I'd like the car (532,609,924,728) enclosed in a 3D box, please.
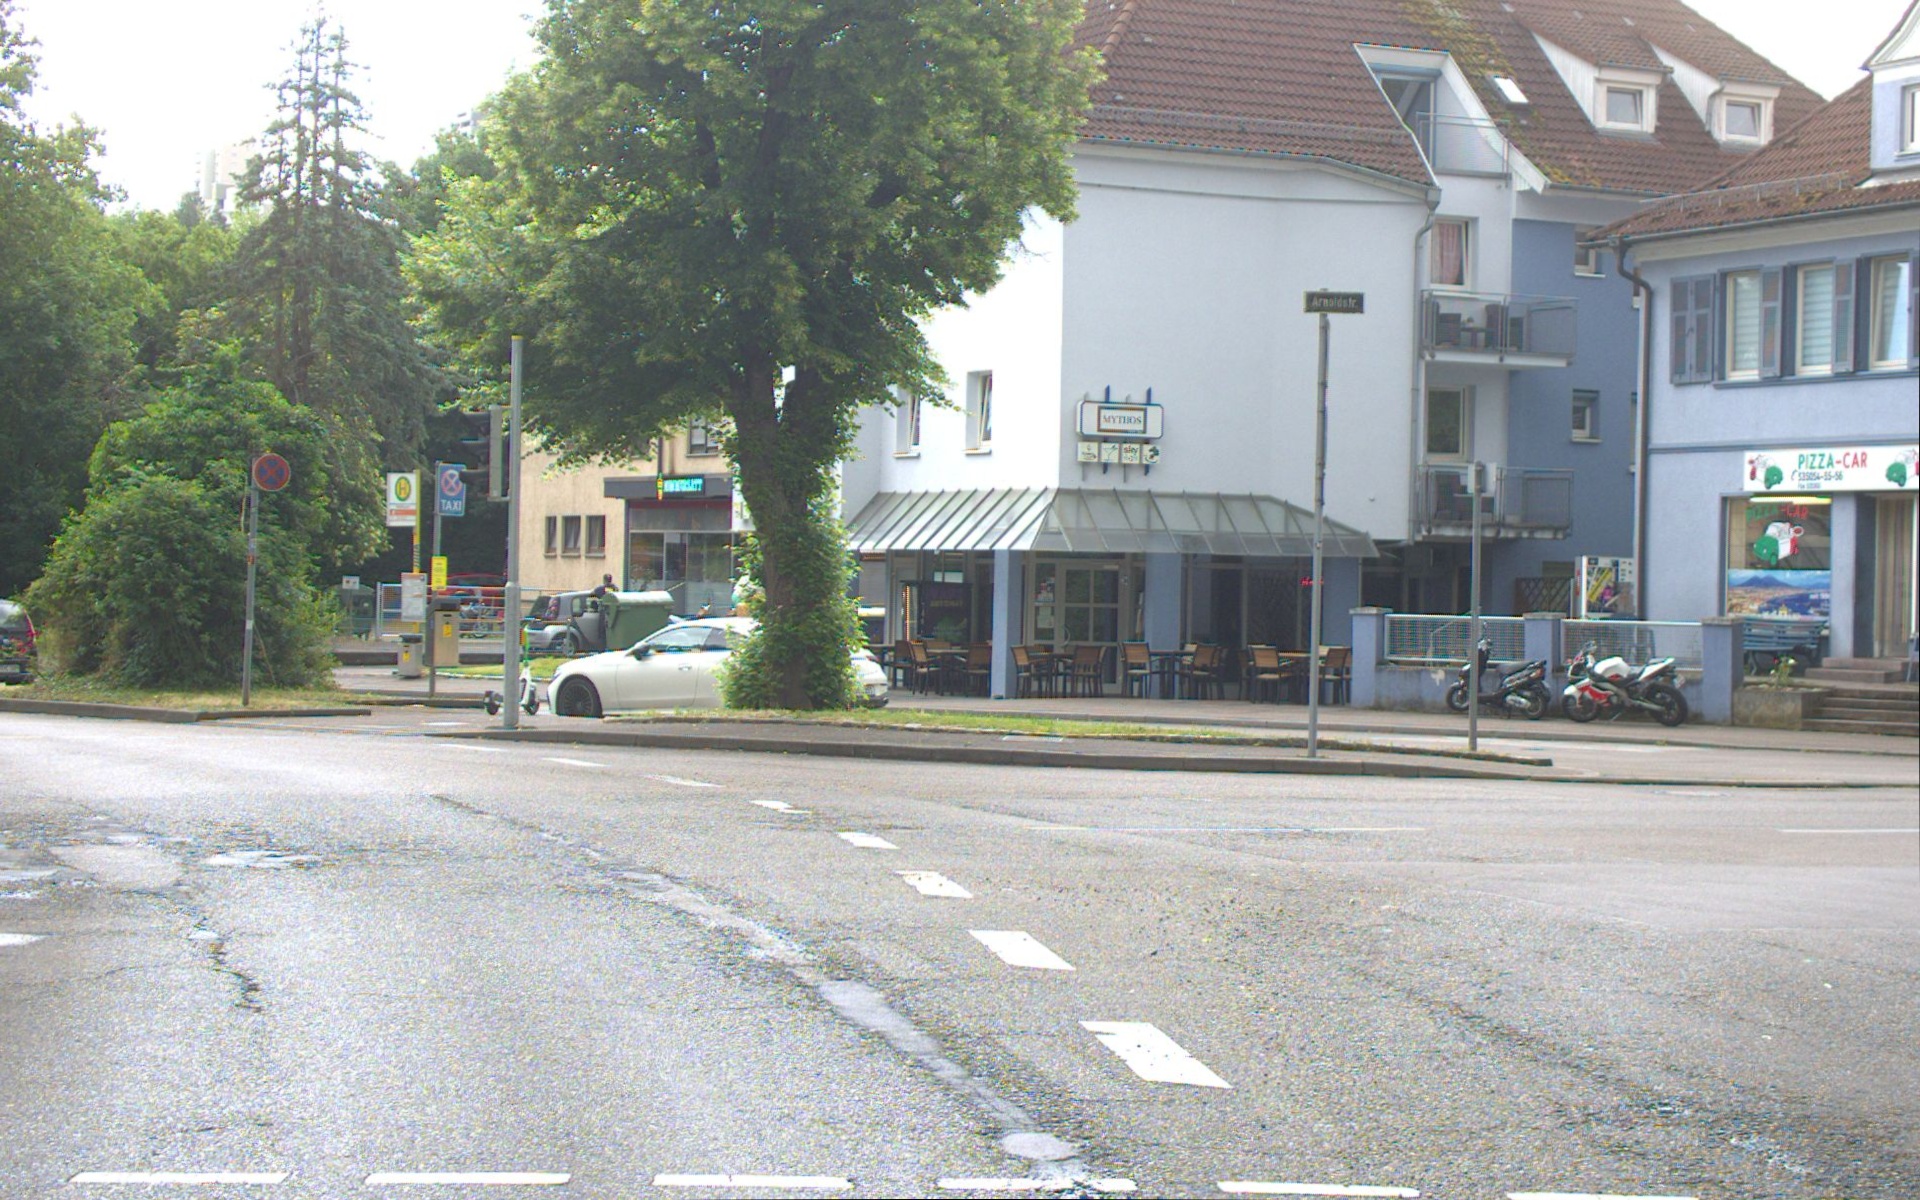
[{"bbox_3d":[-2.985,0.838,43.793,4.782,1.382,1.996,1,0,35],"label":"car"}]

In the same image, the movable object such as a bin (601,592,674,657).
[{"bbox_3d":[-6.768,0.520,72.188,1.216,1.340,0.995,1,0,-31],"label":"movable object such as a bin"}]

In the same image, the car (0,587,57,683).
[{"bbox_3d":[-15.578,0.482,52.137,3.489,1.399,1.570,2,1,29],"label":"car"}]

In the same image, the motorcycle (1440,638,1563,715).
[{"bbox_3d":[7.565,1.057,48.087,1.724,1.028,0.488,1,0,43],"label":"motorcycle"}]

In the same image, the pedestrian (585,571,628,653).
[{"bbox_3d":[-7.507,0.254,73.042,0.687,1.723,0.611,1,0,-31],"label":"pedestrian"}]

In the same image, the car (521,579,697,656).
[{"bbox_3d":[-7.572,0.370,74.136,3.412,1.625,1.625,1,0,-24],"label":"car"}]

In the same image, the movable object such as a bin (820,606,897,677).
[{"bbox_3d":[-2.037,0.819,68.662,1.214,1.390,1.161,1,0,-21],"label":"movable object such as a bin"}]

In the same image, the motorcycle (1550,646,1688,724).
[{"bbox_3d":[8.873,1.138,46.362,1.822,0.982,0.520,1,0,43],"label":"motorcycle"}]

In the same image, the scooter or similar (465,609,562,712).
[{"bbox_3d":[-5.310,0.727,40.931,0.412,1.163,1.360,1,-2,27],"label":"scooter or similar"}]
